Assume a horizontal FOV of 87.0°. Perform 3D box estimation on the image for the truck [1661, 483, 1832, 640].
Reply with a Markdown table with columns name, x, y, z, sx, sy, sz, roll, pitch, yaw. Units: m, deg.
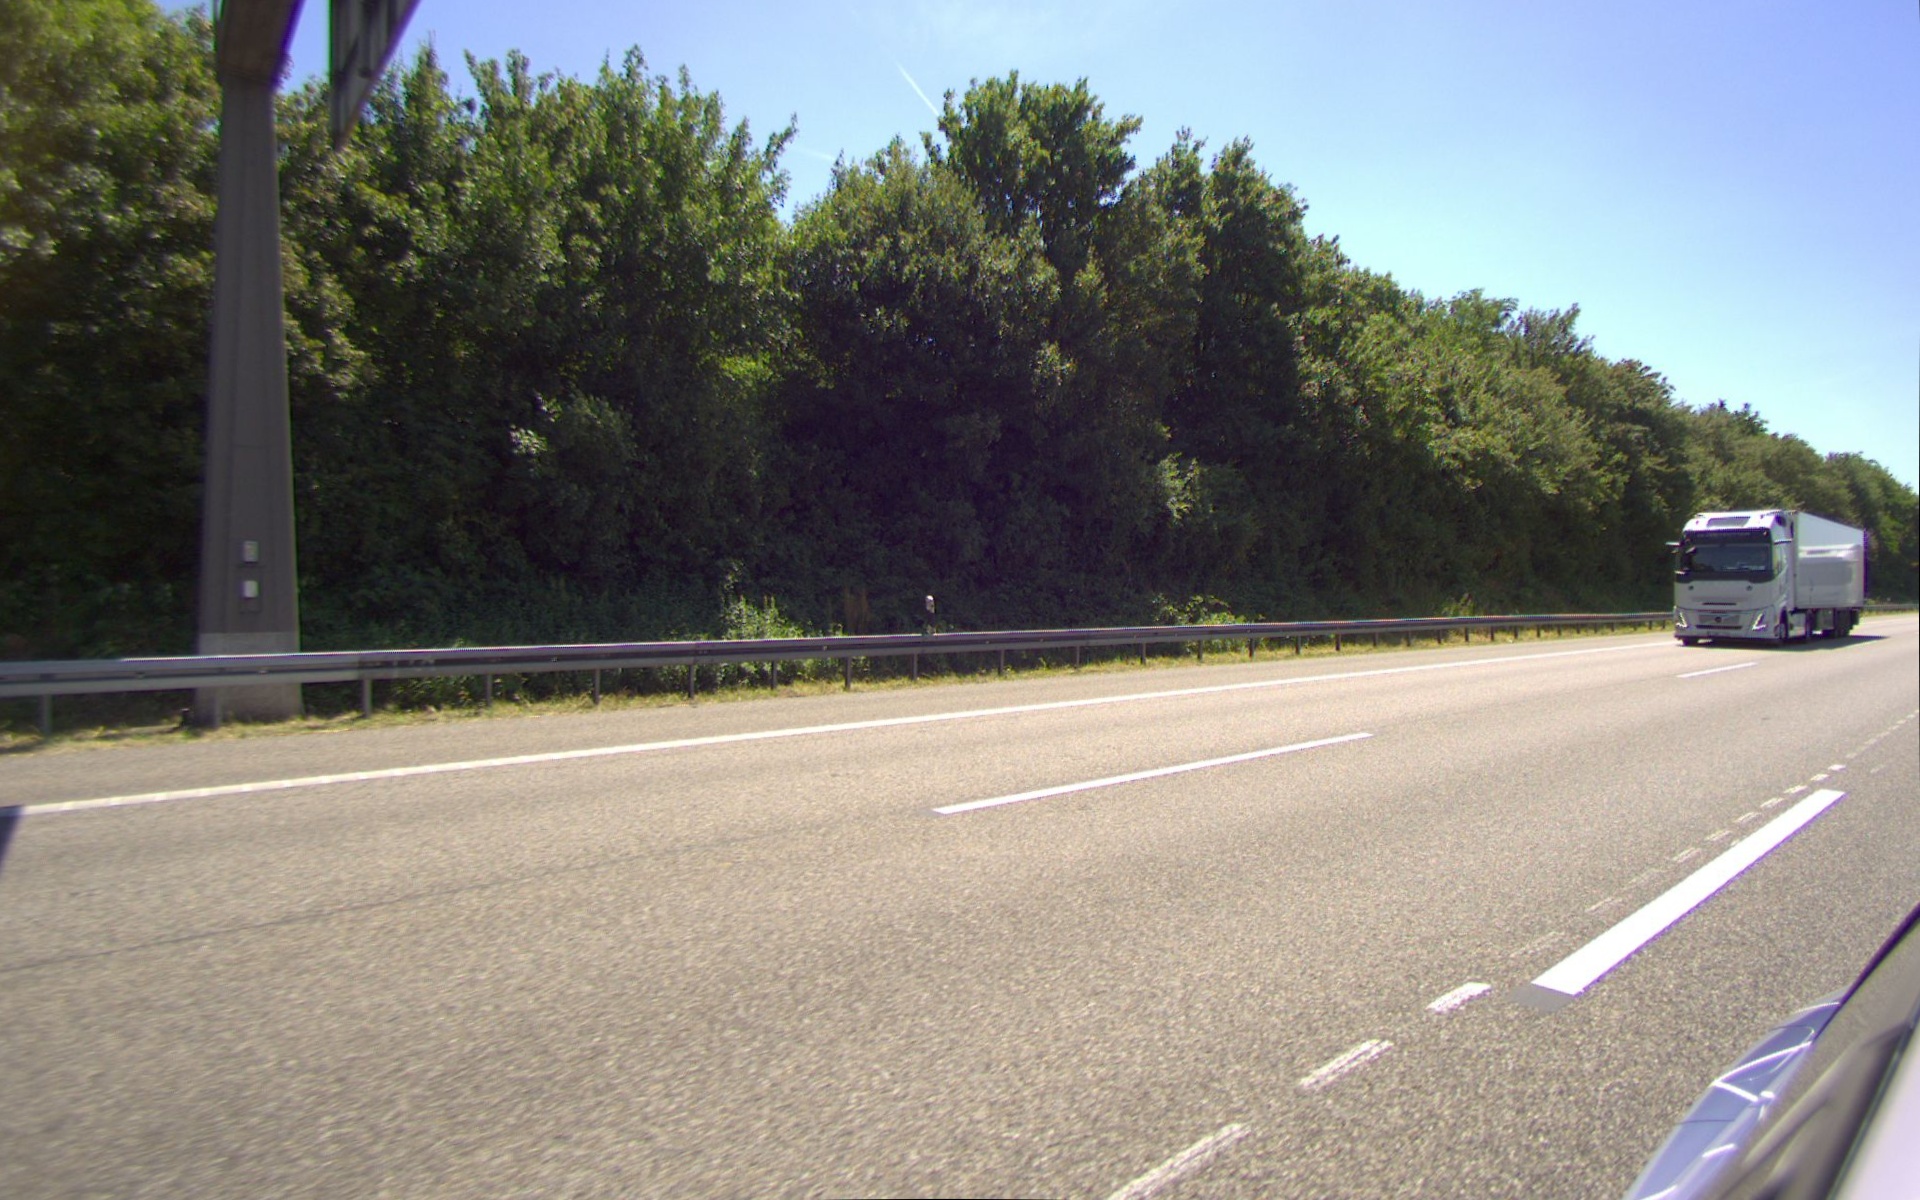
| name | x | y | z | sx | sy | sz | roll | pitch | yaw |
| --- | --- | --- | --- | --- | --- | --- | --- | --- | --- |
| truck | 23.960 | -1.089 | 30.731 | 5.944 | 4.268 | 3.052 | 0 | 1 | -41 |

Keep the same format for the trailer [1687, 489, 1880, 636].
| name | x | y | z | sx | sy | sz | roll | pitch | yaw |
| --- | --- | --- | --- | --- | --- | --- | --- | --- | --- |
| trailer | 28.942 | -1.151 | 35.158 | 13.596 | 4.277 | 3.044 | 0 | 1 | -42 |
